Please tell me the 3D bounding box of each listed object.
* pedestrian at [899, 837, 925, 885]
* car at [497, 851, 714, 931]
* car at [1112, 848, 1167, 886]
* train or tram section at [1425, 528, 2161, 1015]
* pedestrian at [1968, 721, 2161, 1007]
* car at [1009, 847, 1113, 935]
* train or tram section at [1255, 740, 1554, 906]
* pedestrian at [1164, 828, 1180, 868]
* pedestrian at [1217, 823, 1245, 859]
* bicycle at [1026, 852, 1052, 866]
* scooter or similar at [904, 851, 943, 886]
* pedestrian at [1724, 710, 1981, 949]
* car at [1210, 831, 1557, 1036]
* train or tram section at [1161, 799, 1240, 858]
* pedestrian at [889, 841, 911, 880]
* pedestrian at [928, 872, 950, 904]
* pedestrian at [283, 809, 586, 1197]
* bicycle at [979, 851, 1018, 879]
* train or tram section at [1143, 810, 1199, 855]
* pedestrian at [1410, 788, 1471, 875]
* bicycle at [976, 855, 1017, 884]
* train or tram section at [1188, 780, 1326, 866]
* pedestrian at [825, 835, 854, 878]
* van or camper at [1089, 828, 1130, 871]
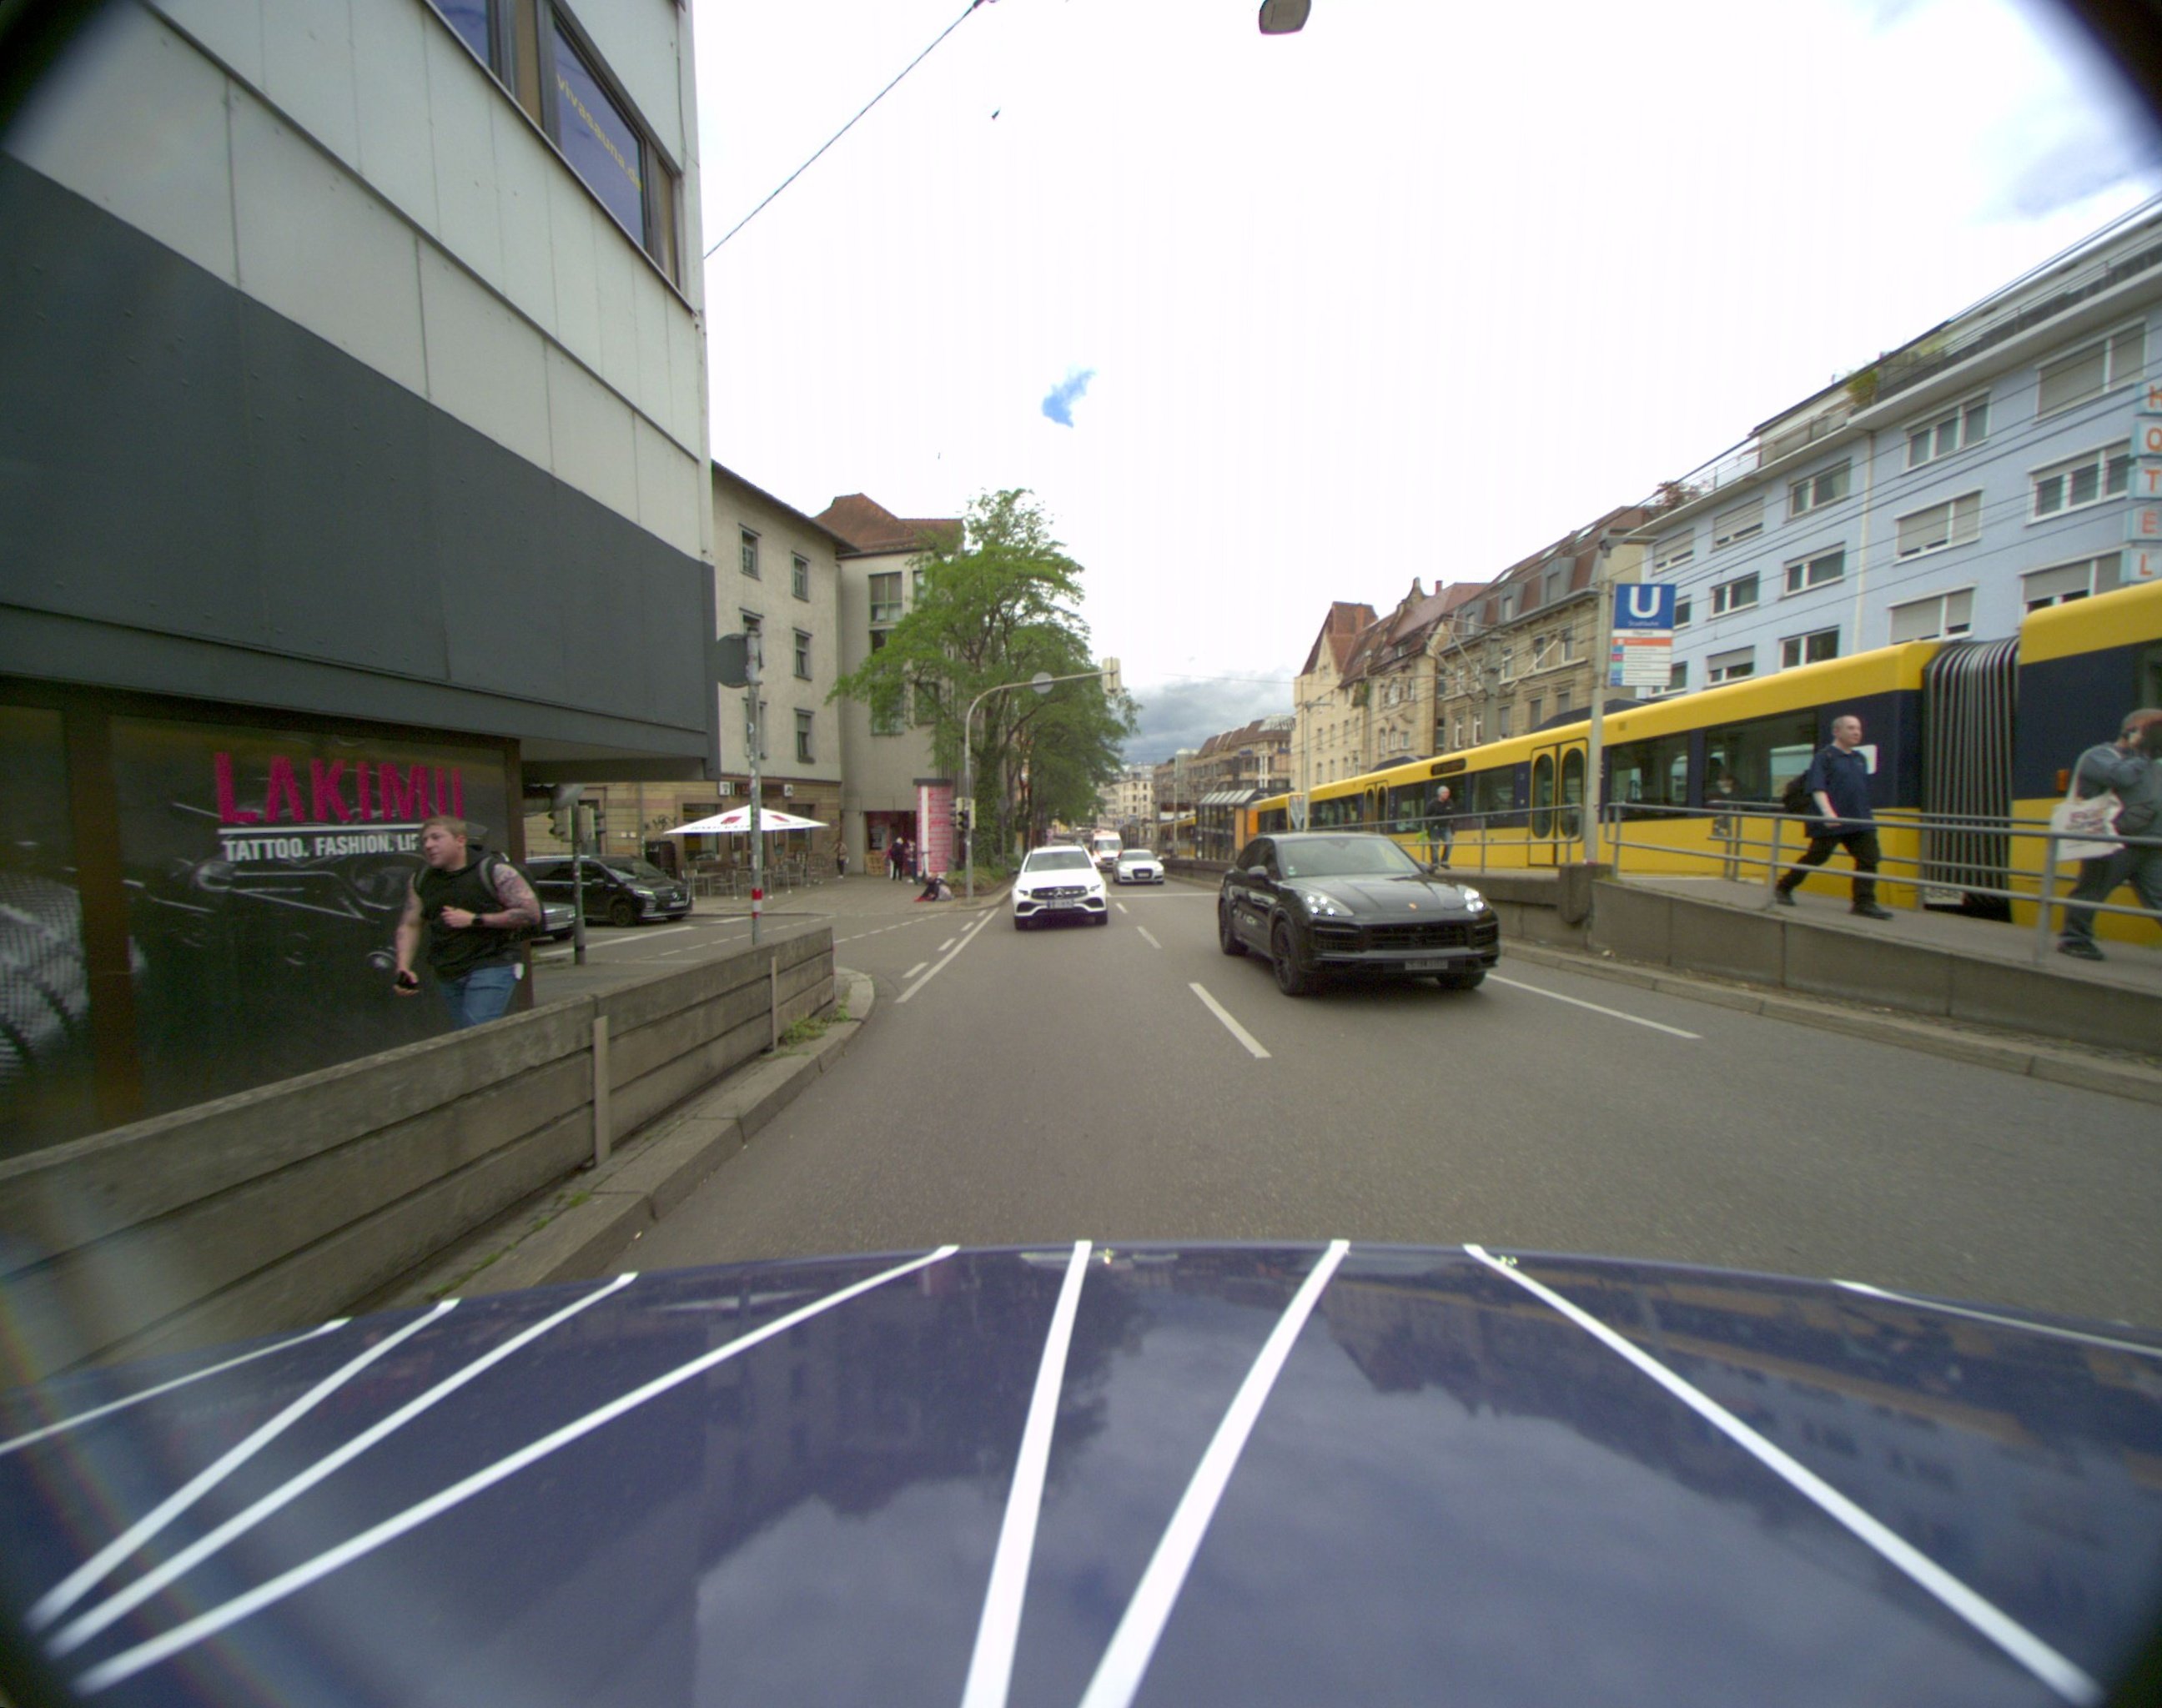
[{"bbox_3d":[-6.787,0.258,30.576,0.706,1.879,0.880,-2,1,5],"label":"pedestrian"},{"bbox_3d":[-13.074,1.011,20.975,5.142,1.897,2.001,-2,4,15],"label":"car"},{"bbox_3d":[2.410,0.493,32.242,1.897,1.467,4.530,-1,1,-1],"label":"car"},{"bbox_3d":[9.381,-0.680,9.885,2.889,3.643,14.224,-1,1,-2],"label":"train or tram section"},{"bbox_3d":[6.897,0.023,4.829,1.119,1.672,1.040,0,6,-1],"label":"pedestrian"},{"bbox_3d":[-0.402,0.677,16.835,1.935,1.622,4.772,-1,1,-1],"label":"car"},{"bbox_3d":[8.869,-0.800,24.058,2.889,3.643,14.224,-1,1,-2],"label":"train or tram section"},{"bbox_3d":[5.212,-0.339,43.467,0.838,2.271,0.772,0,1,-1],"label":"pedestrian"},{"bbox_3d":[5.575,-0.487,28.262,0.852,1.298,0.778,1,1,0],"label":"pedestrian"},{"bbox_3d":[-3.633,0.401,65.457,2.094,1.079,0.712,-3,1,-8],"label":"bicycle"},{"bbox_3d":[-5.918,0.525,28.583,1.387,1.247,0.632,2,3,34],"label":"scooter or similar"},{"bbox_3d":[6.853,-0.227,6.858,0.932,1.959,1.232,0,4,-1],"label":"pedestrian"},{"bbox_3d":[2.949,0.639,8.754,2.033,1.675,4.780,-1,1,-1],"label":"car"},{"bbox_3d":[7.858,-1.588,52.339,2.889,3.422,14.226,-3,1,-1],"label":"train or tram section"},{"bbox_3d":[-7.243,0.251,30.468,0.624,1.514,0.664,-2,1,5],"label":"pedestrian"},{"bbox_3d":[-4.244,1.020,22.739,0.485,0.905,0.583,-2,1,2],"label":"pedestrian"},{"bbox_3d":[-3.263,0.687,3.944,0.722,1.775,0.883,-2,1,1],"label":"pedestrian"},{"bbox_3d":[-3.709,0.470,34.176,1.692,1.214,0.542,-1,1,-5],"label":"bicycle"},{"bbox_3d":[7.636,-1.732,66.593,2.889,3.399,14.226,-3,1,-1],"label":"train or tram section"},{"bbox_3d":[6.611,-0.408,14.003,0.780,1.575,0.665,0,1,-1],"label":"pedestrian"},{"bbox_3d":[-3.637,0.668,32.932,1.745,1.214,0.542,0,1,-5],"label":"bicycle"},{"bbox_3d":[8.204,-1.415,38.186,2.931,3.538,14.222,0,1,-3],"label":"train or tram section"},{"bbox_3d":[-10.430,0.120,32.796,0.901,1.823,0.737,-1,1,27],"label":"pedestrian"},{"bbox_3d":[1.781,-0.324,49.829,2.209,2.543,6.371,-2,1,-1],"label":"van or camper"}]
